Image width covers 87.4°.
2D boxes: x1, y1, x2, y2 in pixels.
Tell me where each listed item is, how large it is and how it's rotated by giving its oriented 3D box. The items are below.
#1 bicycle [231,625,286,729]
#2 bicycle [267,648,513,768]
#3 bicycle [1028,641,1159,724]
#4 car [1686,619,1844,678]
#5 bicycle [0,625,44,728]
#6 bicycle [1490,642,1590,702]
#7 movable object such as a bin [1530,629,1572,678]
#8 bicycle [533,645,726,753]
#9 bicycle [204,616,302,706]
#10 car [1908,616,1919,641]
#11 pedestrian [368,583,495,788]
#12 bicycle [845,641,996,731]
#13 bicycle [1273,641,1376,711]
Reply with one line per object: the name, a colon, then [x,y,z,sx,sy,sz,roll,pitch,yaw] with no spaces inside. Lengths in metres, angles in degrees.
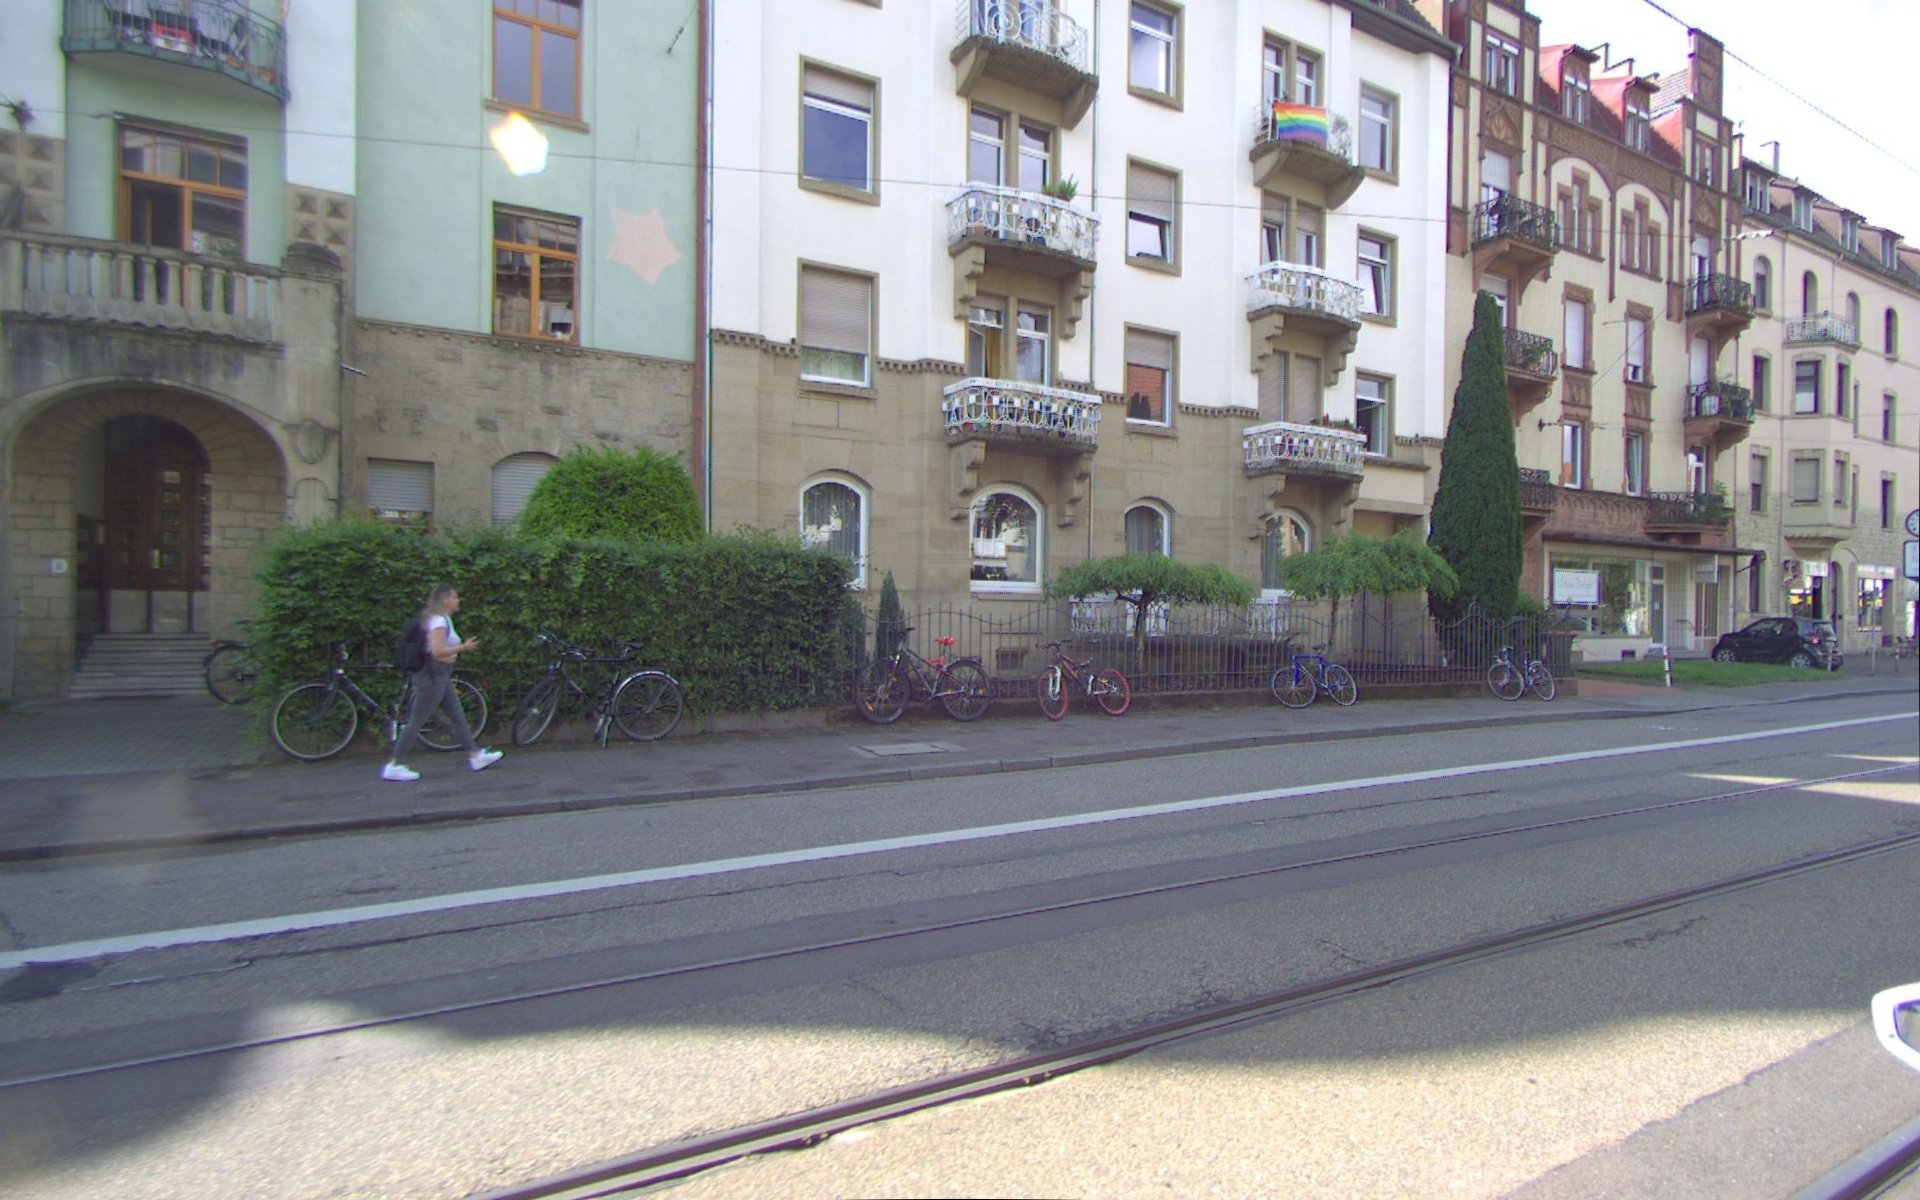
bicycle: [-7.773,0.820,11.153,0.390,1.004,1.386,1,2,-31]
bicycle: [-5.099,0.941,9.098,1.897,0.972,0.381,1,1,-28]
bicycle: [1.737,1.039,12.934,1.778,0.988,0.381,1,1,-28]
car: [23.785,1.389,29.784,1.656,1.533,3.225,1,1,-26]
bicycle: [-9.835,0.781,10.145,0.379,0.972,1.907,1,1,-28]
bicycle: [10.287,1.283,17.810,1.789,0.972,0.510,3,1,-23]
movable object such as a bin: [13.808,1.248,23.472,0.595,1.084,0.597,2,2,4]
bicycle: [-3.286,0.957,10.053,1.780,0.972,0.449,1,1,-31]
bicycle: [-8.896,0.744,12.687,0.387,1.004,1.396,2,1,-7]
car: [79.991,2.267,81.428,1.969,2.039,4.117,1,-4,-19]
pedestrian: [-4.355,0.669,8.309,0.871,1.589,0.677,1,1,-28]
bicycle: [-0.444,0.986,11.809,1.778,0.972,0.381,1,1,-28]
bicycle: [5.498,1.127,15.115,1.684,0.972,0.424,1,1,-28]
